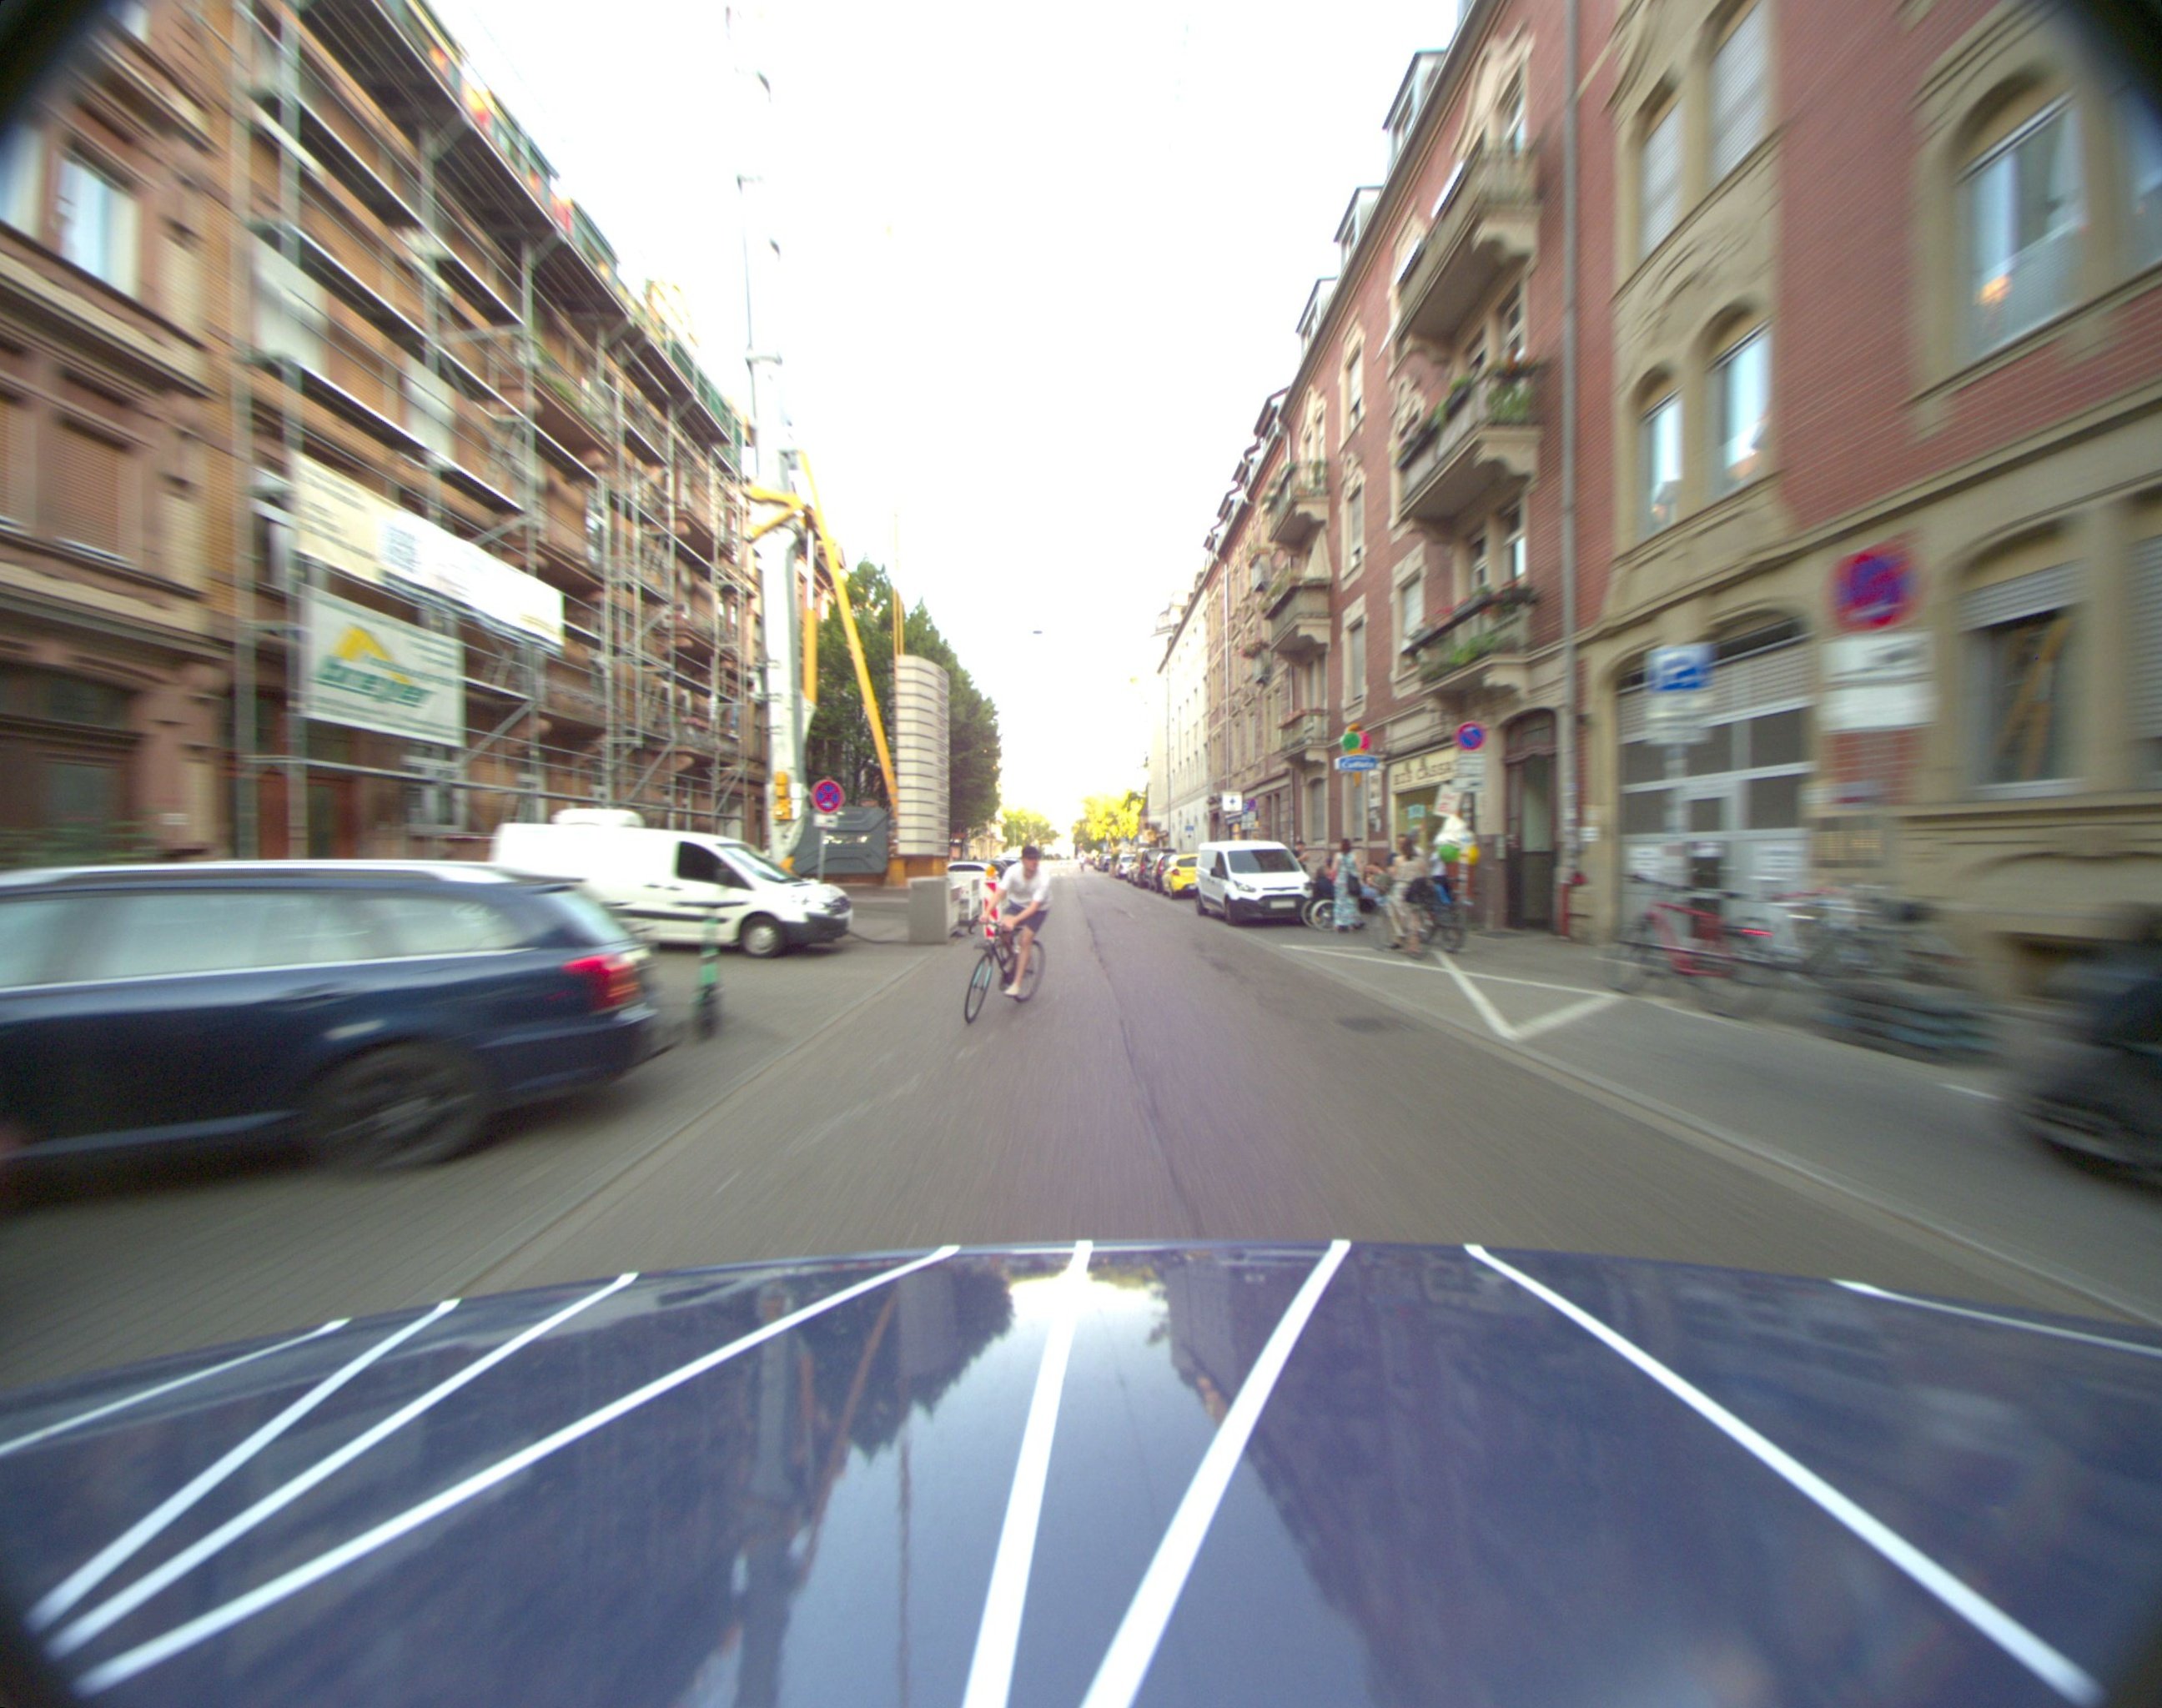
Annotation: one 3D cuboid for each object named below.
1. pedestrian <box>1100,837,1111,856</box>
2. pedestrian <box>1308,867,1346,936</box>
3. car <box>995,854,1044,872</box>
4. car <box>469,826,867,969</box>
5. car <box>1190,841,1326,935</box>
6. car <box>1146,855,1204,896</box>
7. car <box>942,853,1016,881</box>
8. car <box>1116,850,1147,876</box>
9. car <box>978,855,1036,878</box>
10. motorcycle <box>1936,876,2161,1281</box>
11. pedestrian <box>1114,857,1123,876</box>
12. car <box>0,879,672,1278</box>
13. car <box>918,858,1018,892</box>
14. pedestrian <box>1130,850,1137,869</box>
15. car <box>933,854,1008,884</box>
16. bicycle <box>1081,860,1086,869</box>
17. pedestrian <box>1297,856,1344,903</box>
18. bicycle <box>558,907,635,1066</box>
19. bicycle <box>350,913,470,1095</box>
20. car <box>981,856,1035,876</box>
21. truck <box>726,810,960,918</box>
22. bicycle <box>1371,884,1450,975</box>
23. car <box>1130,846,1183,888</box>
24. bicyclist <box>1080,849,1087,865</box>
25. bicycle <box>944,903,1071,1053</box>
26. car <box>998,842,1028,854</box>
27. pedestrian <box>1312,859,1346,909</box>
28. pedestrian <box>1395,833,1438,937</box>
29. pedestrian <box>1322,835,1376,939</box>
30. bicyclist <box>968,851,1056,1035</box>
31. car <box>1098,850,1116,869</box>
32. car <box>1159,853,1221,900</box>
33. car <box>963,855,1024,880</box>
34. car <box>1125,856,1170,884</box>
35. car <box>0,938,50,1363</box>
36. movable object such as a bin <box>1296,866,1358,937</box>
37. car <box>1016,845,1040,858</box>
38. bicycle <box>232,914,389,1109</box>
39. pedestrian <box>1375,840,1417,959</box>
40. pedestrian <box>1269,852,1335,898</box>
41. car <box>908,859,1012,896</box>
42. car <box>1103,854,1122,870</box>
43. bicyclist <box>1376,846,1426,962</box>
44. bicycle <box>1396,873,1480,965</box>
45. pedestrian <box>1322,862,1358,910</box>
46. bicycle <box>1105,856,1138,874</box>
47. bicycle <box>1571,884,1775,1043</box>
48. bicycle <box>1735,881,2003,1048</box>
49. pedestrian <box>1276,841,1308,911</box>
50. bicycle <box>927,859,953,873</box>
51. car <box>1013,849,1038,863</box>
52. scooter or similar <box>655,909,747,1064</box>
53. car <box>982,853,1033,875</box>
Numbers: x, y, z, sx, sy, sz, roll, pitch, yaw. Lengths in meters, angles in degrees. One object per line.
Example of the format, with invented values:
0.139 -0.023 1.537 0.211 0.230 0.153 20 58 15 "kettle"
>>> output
3.429 -1.048 107.928 1.445 2.725 1.011 -2 1 -2 "pedestrian"
4.649 0.875 14.368 0.479 1.244 0.652 -2 1 0 "pedestrian"
-5.352 0.785 66.317 3.842 1.510 1.673 2 1 -33 "car"
-6.274 0.660 12.038 5.187 1.944 1.899 2 -1 -2 "car"
3.786 0.635 17.095 1.775 1.778 4.585 -2 1 -3 "car"
3.868 0.837 31.876 1.932 1.587 3.969 -1 0 1 "car"
-5.842 0.767 43.655 3.807 1.508 1.646 2 0 -33 "car"
3.369 0.589 51.644 1.730 1.638 3.916 -2 0 -1 "car"
-5.362 0.926 55.274 3.841 1.556 1.673 2 1 -31 "car"
4.176 0.822 2.411 0.686 1.397 2.014 -2 1 2 "motorcycle"
2.776 0.926 56.506 0.571 1.315 0.496 -2 1 -2 "pedestrian"
-4.385 0.934 3.994 3.873 1.507 1.844 0 0 -27 "car"
-5.208 0.977 35.244 4.179 1.479 1.826 2 0 -37 "car"
4.679 0.508 68.000 0.566 1.723 0.562 -2 1 -2 "pedestrian"
-5.898 0.803 40.596 3.638 1.508 1.621 2 0 -29 "car"
0.282 1.115 81.419 0.477 0.938 1.895 -2 1 -2 "bicycle"
6.382 0.662 20.253 1.041 1.196 0.503 -2 1 -3 "pedestrian"
-4.310 1.089 6.782 0.497 1.129 1.810 1 -1 -32 "bicycle"
-5.288 1.091 6.066 0.497 1.129 1.809 1 -1 -35 "bicycle"
-5.798 0.952 60.476 3.841 1.422 1.673 2 1 -31 "car"
-7.371 0.300 24.133 6.495 3.059 2.524 -2 1 2 "truck"
4.497 0.997 10.462 0.467 1.062 1.520 -2 1 2 "bicycle"
3.610 0.603 37.138 1.932 1.872 4.904 -1 0 -2 "car"
0.243 0.293 81.298 0.624 1.682 1.003 -2 1 -2 "bicyclist"
-0.657 1.127 7.460 0.520 1.148 1.785 -2 1 18 "bicycle"
-9.629 -0.887 107.612 3.841 1.510 1.673 2 1 -29 "car"
6.419 0.776 19.684 0.620 1.244 0.585 -2 1 -3 "pedestrian"
5.978 0.535 13.569 0.598 1.803 0.721 -2 1 17 "pedestrian"
4.807 0.574 13.672 0.600 1.803 0.720 -2 1 -10 "pedestrian"
-0.657 0.833 7.486 0.528 1.694 0.790 -2 1 19 "bicyclist"
2.839 0.573 82.551 1.786 1.860 4.457 -2 1 1 "car"
3.822 0.749 27.246 1.709 1.521 3.792 -1 0 1 "car"
-6.064 0.936 52.576 3.839 1.556 1.674 2 1 -23 "car"
3.666 0.855 42.556 1.932 1.422 4.480 -1 0 -2 "car"
-4.912 1.016 0.973 3.874 1.400 1.754 0 1 -34 "car"
4.623 0.876 14.342 0.890 1.244 0.776 -2 1 -1 "movable object such as a bin"
-9.928 -0.462 142.290 4.202 2.246 1.673 2 1 -36 "car"
-5.731 1.077 5.743 0.497 1.129 1.809 1 -1 -35 "bicycle"
4.621 0.652 11.149 0.419 1.699 0.350 -2 1 -6 "pedestrian"
6.042 0.566 20.823 1.566 1.196 0.641 -2 1 -3 "pedestrian"
-5.118 0.993 32.260 4.003 1.479 1.680 2 0 -35 "car"
3.227 0.781 77.581 1.786 1.537 3.999 -2 1 1 "car"
4.499 0.693 10.706 0.467 1.581 0.487 -2 1 2 "bicyclist"
5.209 0.904 11.205 0.466 1.148 2.001 -2 1 6 "bicycle"
6.395 0.784 18.778 0.633 1.133 0.573 -2 1 -3 "pedestrian"
3.333 0.867 62.086 2.619 1.390 0.602 -2 1 12 "bicycle"
5.279 0.907 6.926 0.413 1.153 1.837 -2 1 0 "bicycle"
6.686 0.863 6.601 0.413 1.153 1.837 -2 1 0 "bicycle"
5.311 0.540 19.090 0.619 1.720 0.586 -1 1 27 "pedestrian"
-10.219 0.855 55.058 1.770 0.920 0.546 3 0 -8 "bicycle"
-9.742 0.340 133.859 4.202 2.279 1.673 1 1 -40 "car"
-3.412 1.121 6.891 0.658 1.143 1.481 1 0 -25 "scooter or similar"
-6.075 0.833 63.184 3.841 1.639 1.674 2 1 -28 "car"
